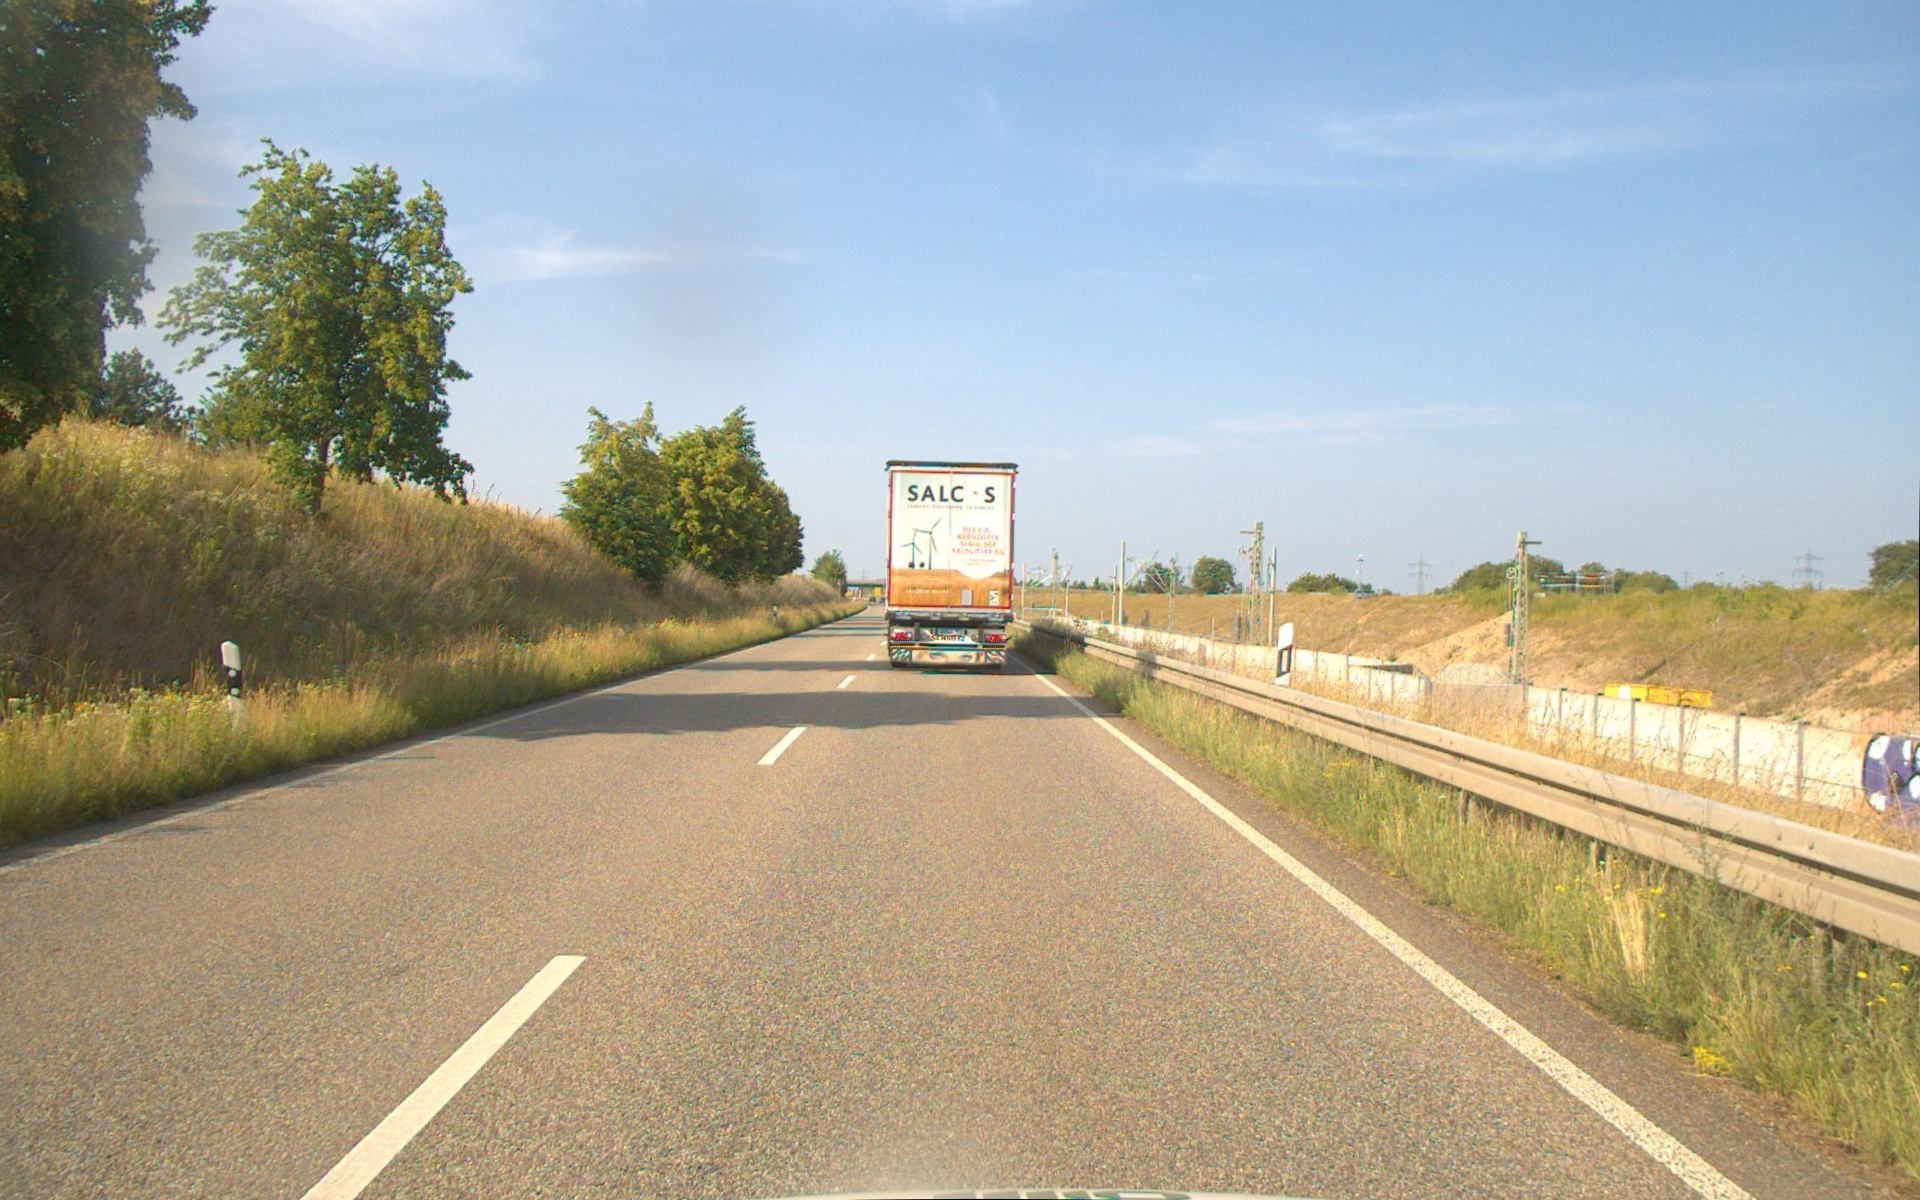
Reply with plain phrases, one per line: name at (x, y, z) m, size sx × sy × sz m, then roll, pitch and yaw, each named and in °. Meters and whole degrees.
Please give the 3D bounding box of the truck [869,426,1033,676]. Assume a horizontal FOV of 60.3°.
truck at (-0.186, -0.951, 36.040) m, size 3.088 × 4.770 × 8.441 m, roll 1°, pitch 0°, yaw 0°
